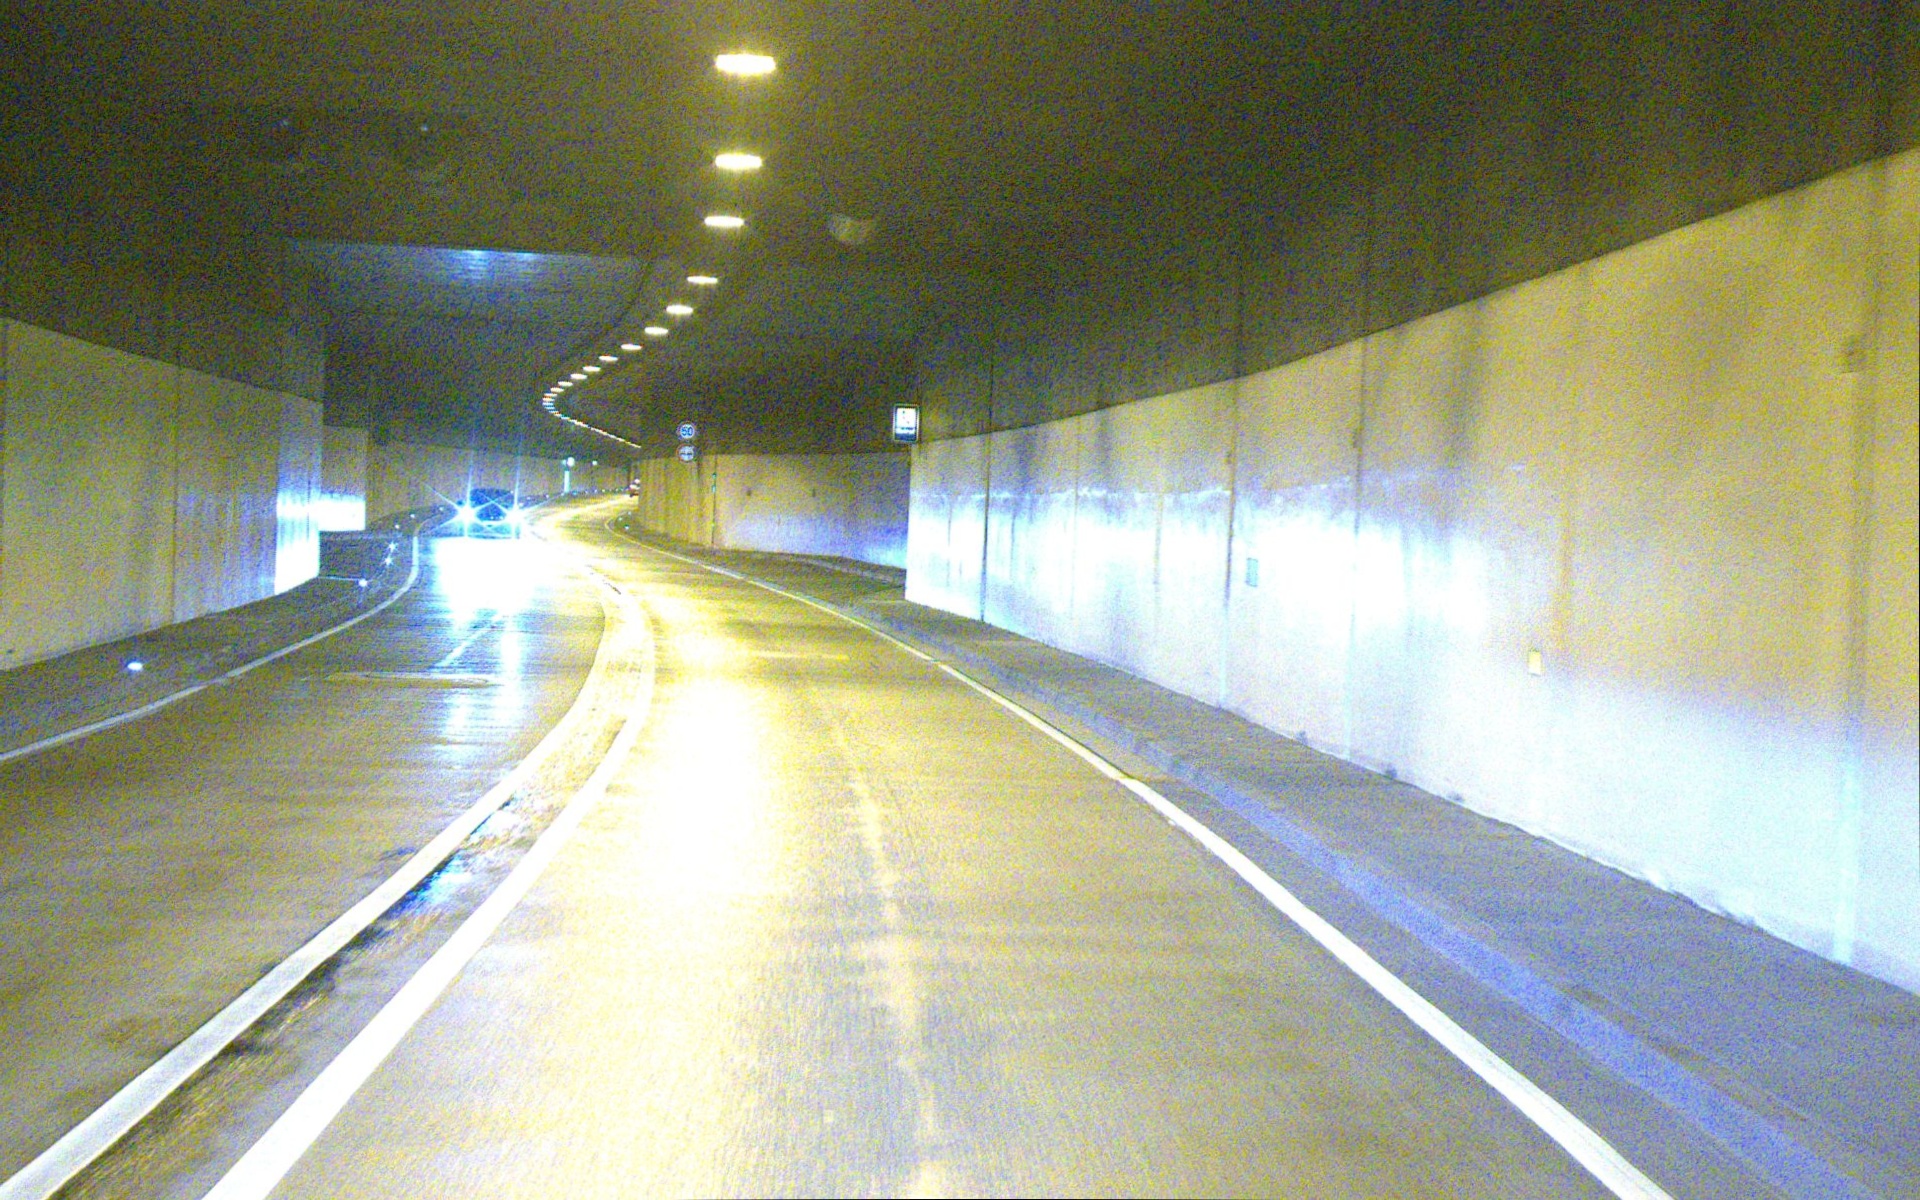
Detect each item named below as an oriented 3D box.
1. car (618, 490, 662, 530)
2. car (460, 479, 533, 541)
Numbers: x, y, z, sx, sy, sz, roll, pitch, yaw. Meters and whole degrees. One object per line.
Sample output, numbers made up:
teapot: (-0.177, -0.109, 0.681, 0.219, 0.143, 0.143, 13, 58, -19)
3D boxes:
car: (-13.160, -3.698, 141.257, 1.595, 1.450, 3.622, 3, -1, -8)
car: (-13.681, -2.648, 101.662, 1.993, 1.590, 4.001, 3, -1, -7)
